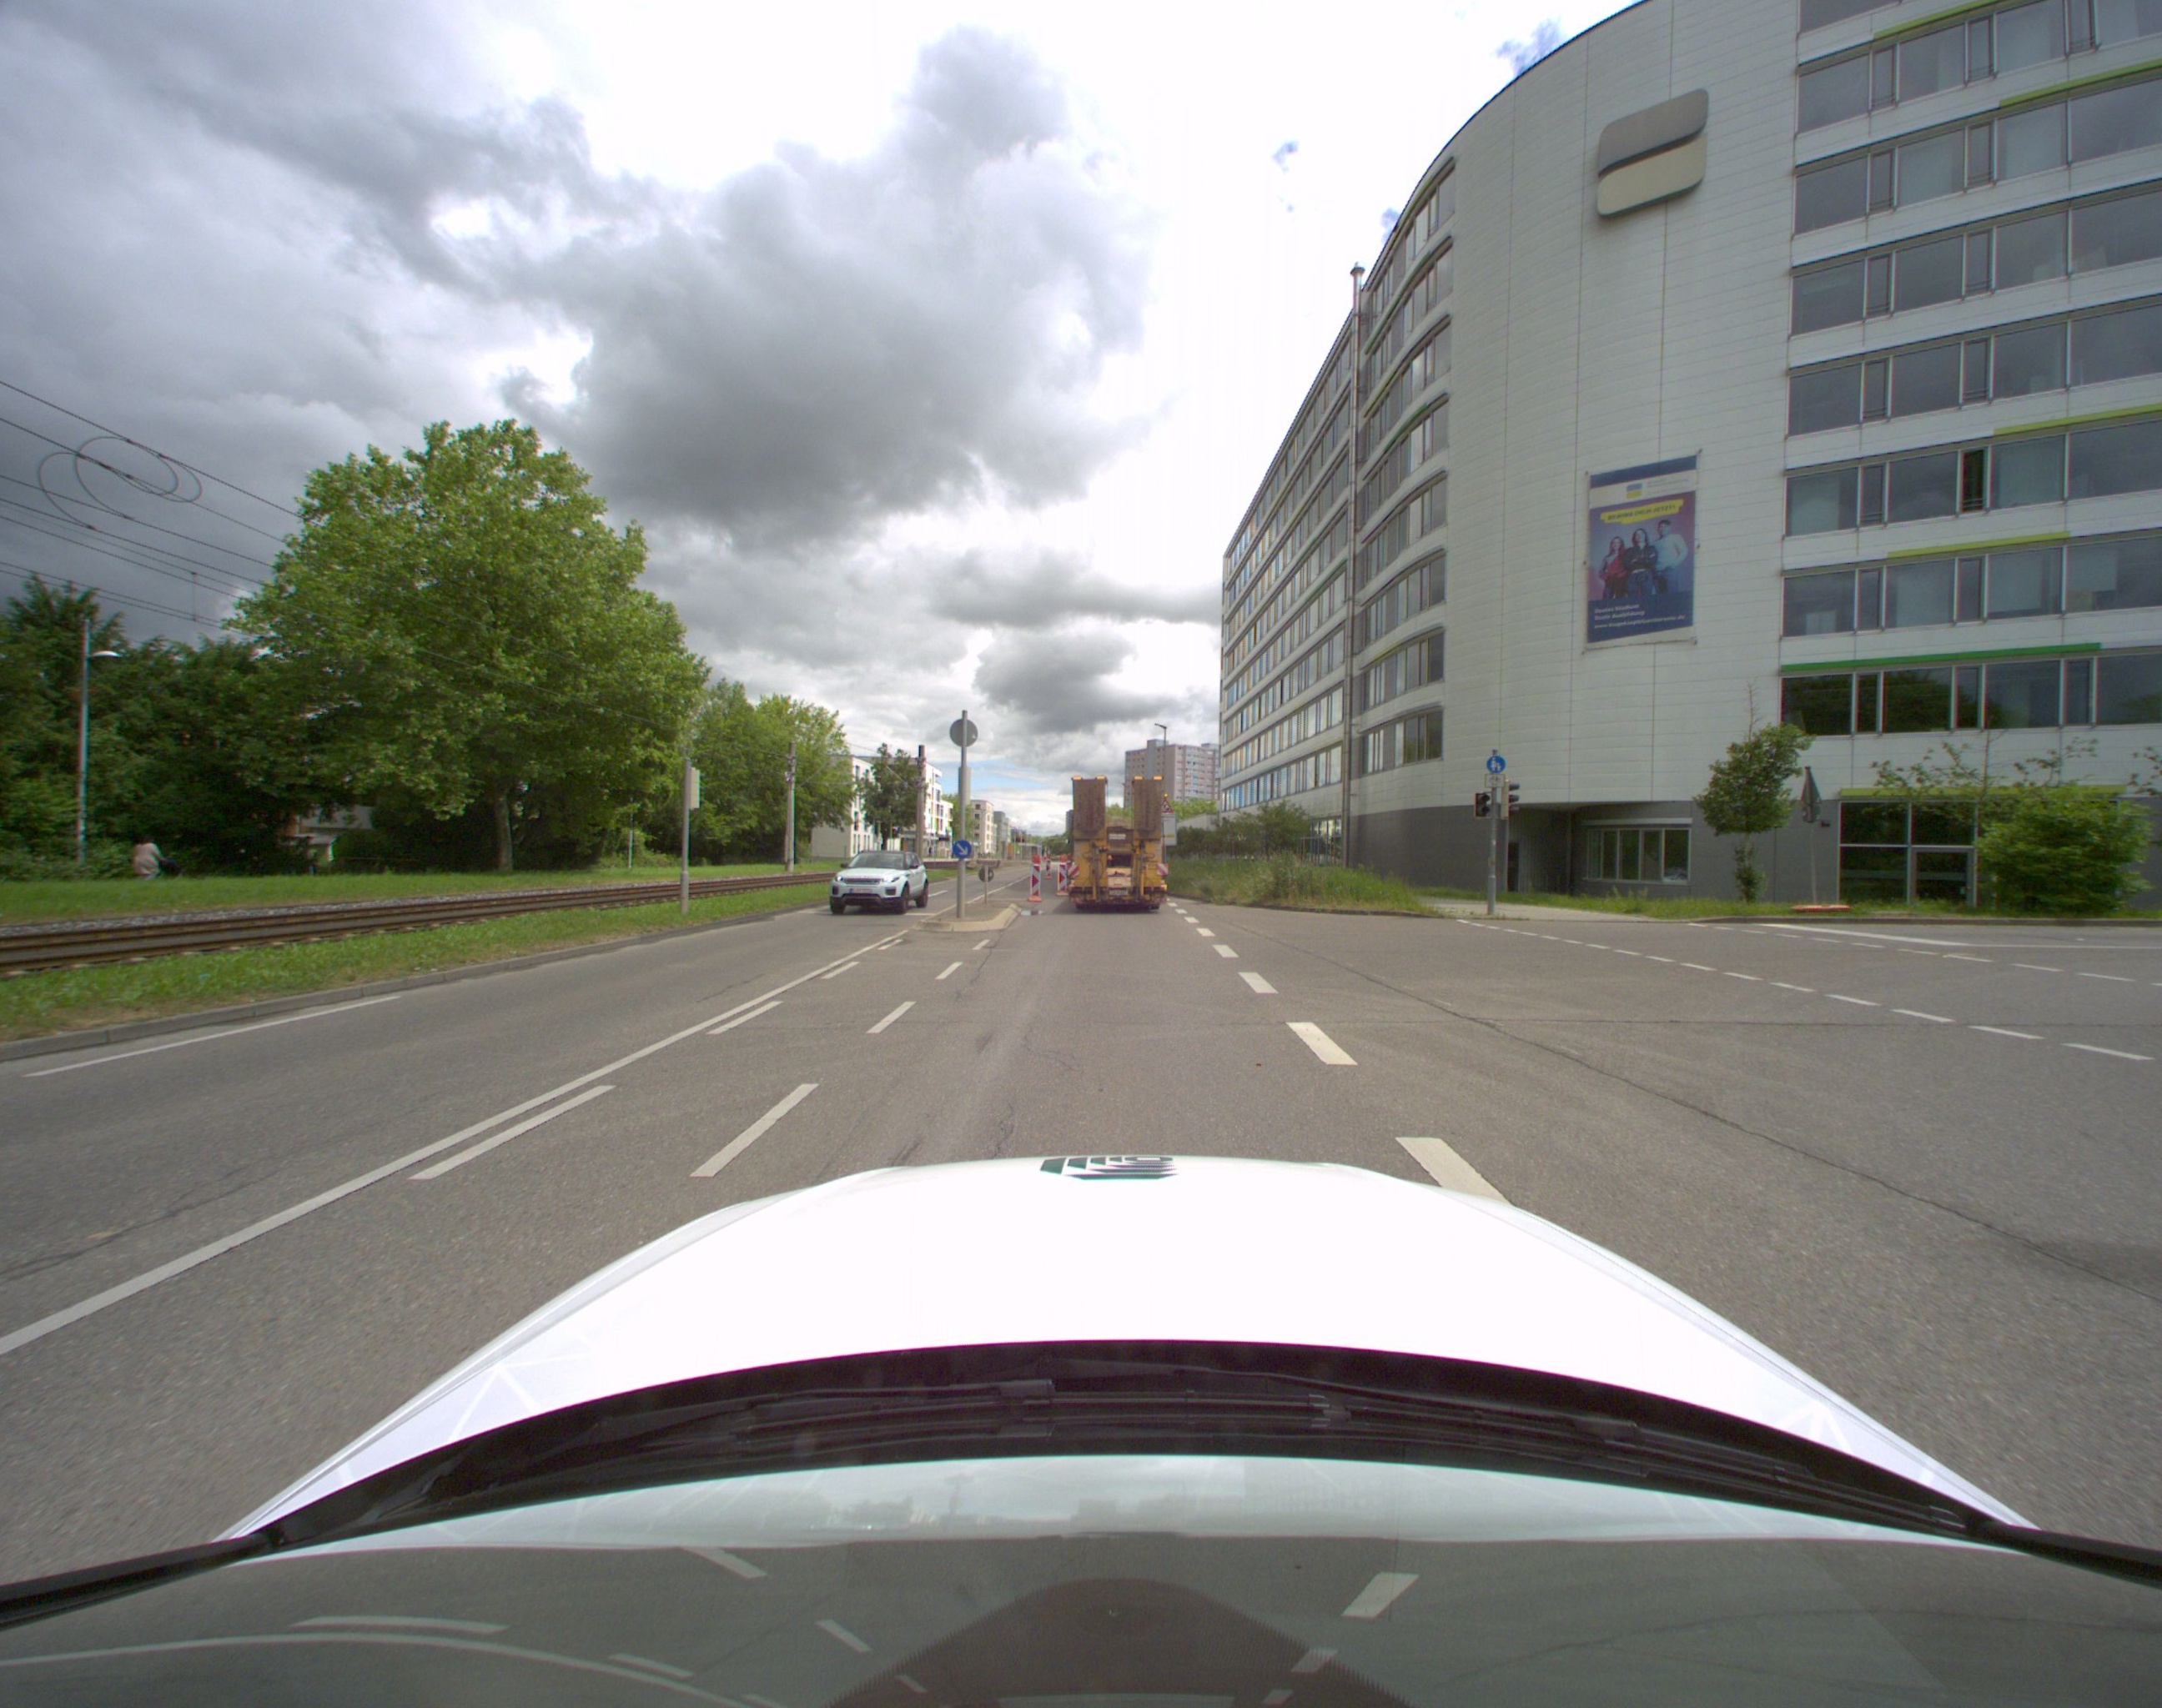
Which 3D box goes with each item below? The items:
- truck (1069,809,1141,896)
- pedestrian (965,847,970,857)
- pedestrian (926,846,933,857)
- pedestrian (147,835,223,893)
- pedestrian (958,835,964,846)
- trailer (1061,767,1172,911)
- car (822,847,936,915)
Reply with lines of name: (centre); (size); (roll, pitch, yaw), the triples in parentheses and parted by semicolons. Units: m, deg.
truck: (0.945, -0.031, 35.940); (2.744, 3.313, 8.350); (1, 0, 0)
pedestrian: (-18.336, -0.344, 131.664); (0.482, 1.597, 0.682); (1, -1, 35)
pedestrian: (-19.711, -0.320, 106.134); (0.738, 1.531, 0.547); (1, -1, 3)
pedestrian: (-30.828, 0.323, 28.049); (1.030, 1.933, 1.364); (1, 0, 1)
pedestrian: (-19.062, -2.153, 129.516); (0.669, 1.725, 0.492); (3, -1, 33)
trailer: (0.893, -0.338, 26.122); (2.720, 3.559, 11.251); (1, 0, 0)
car: (-5.308, 0.674, 22.037); (1.854, 1.610, 4.607); (1, 0, 0)
